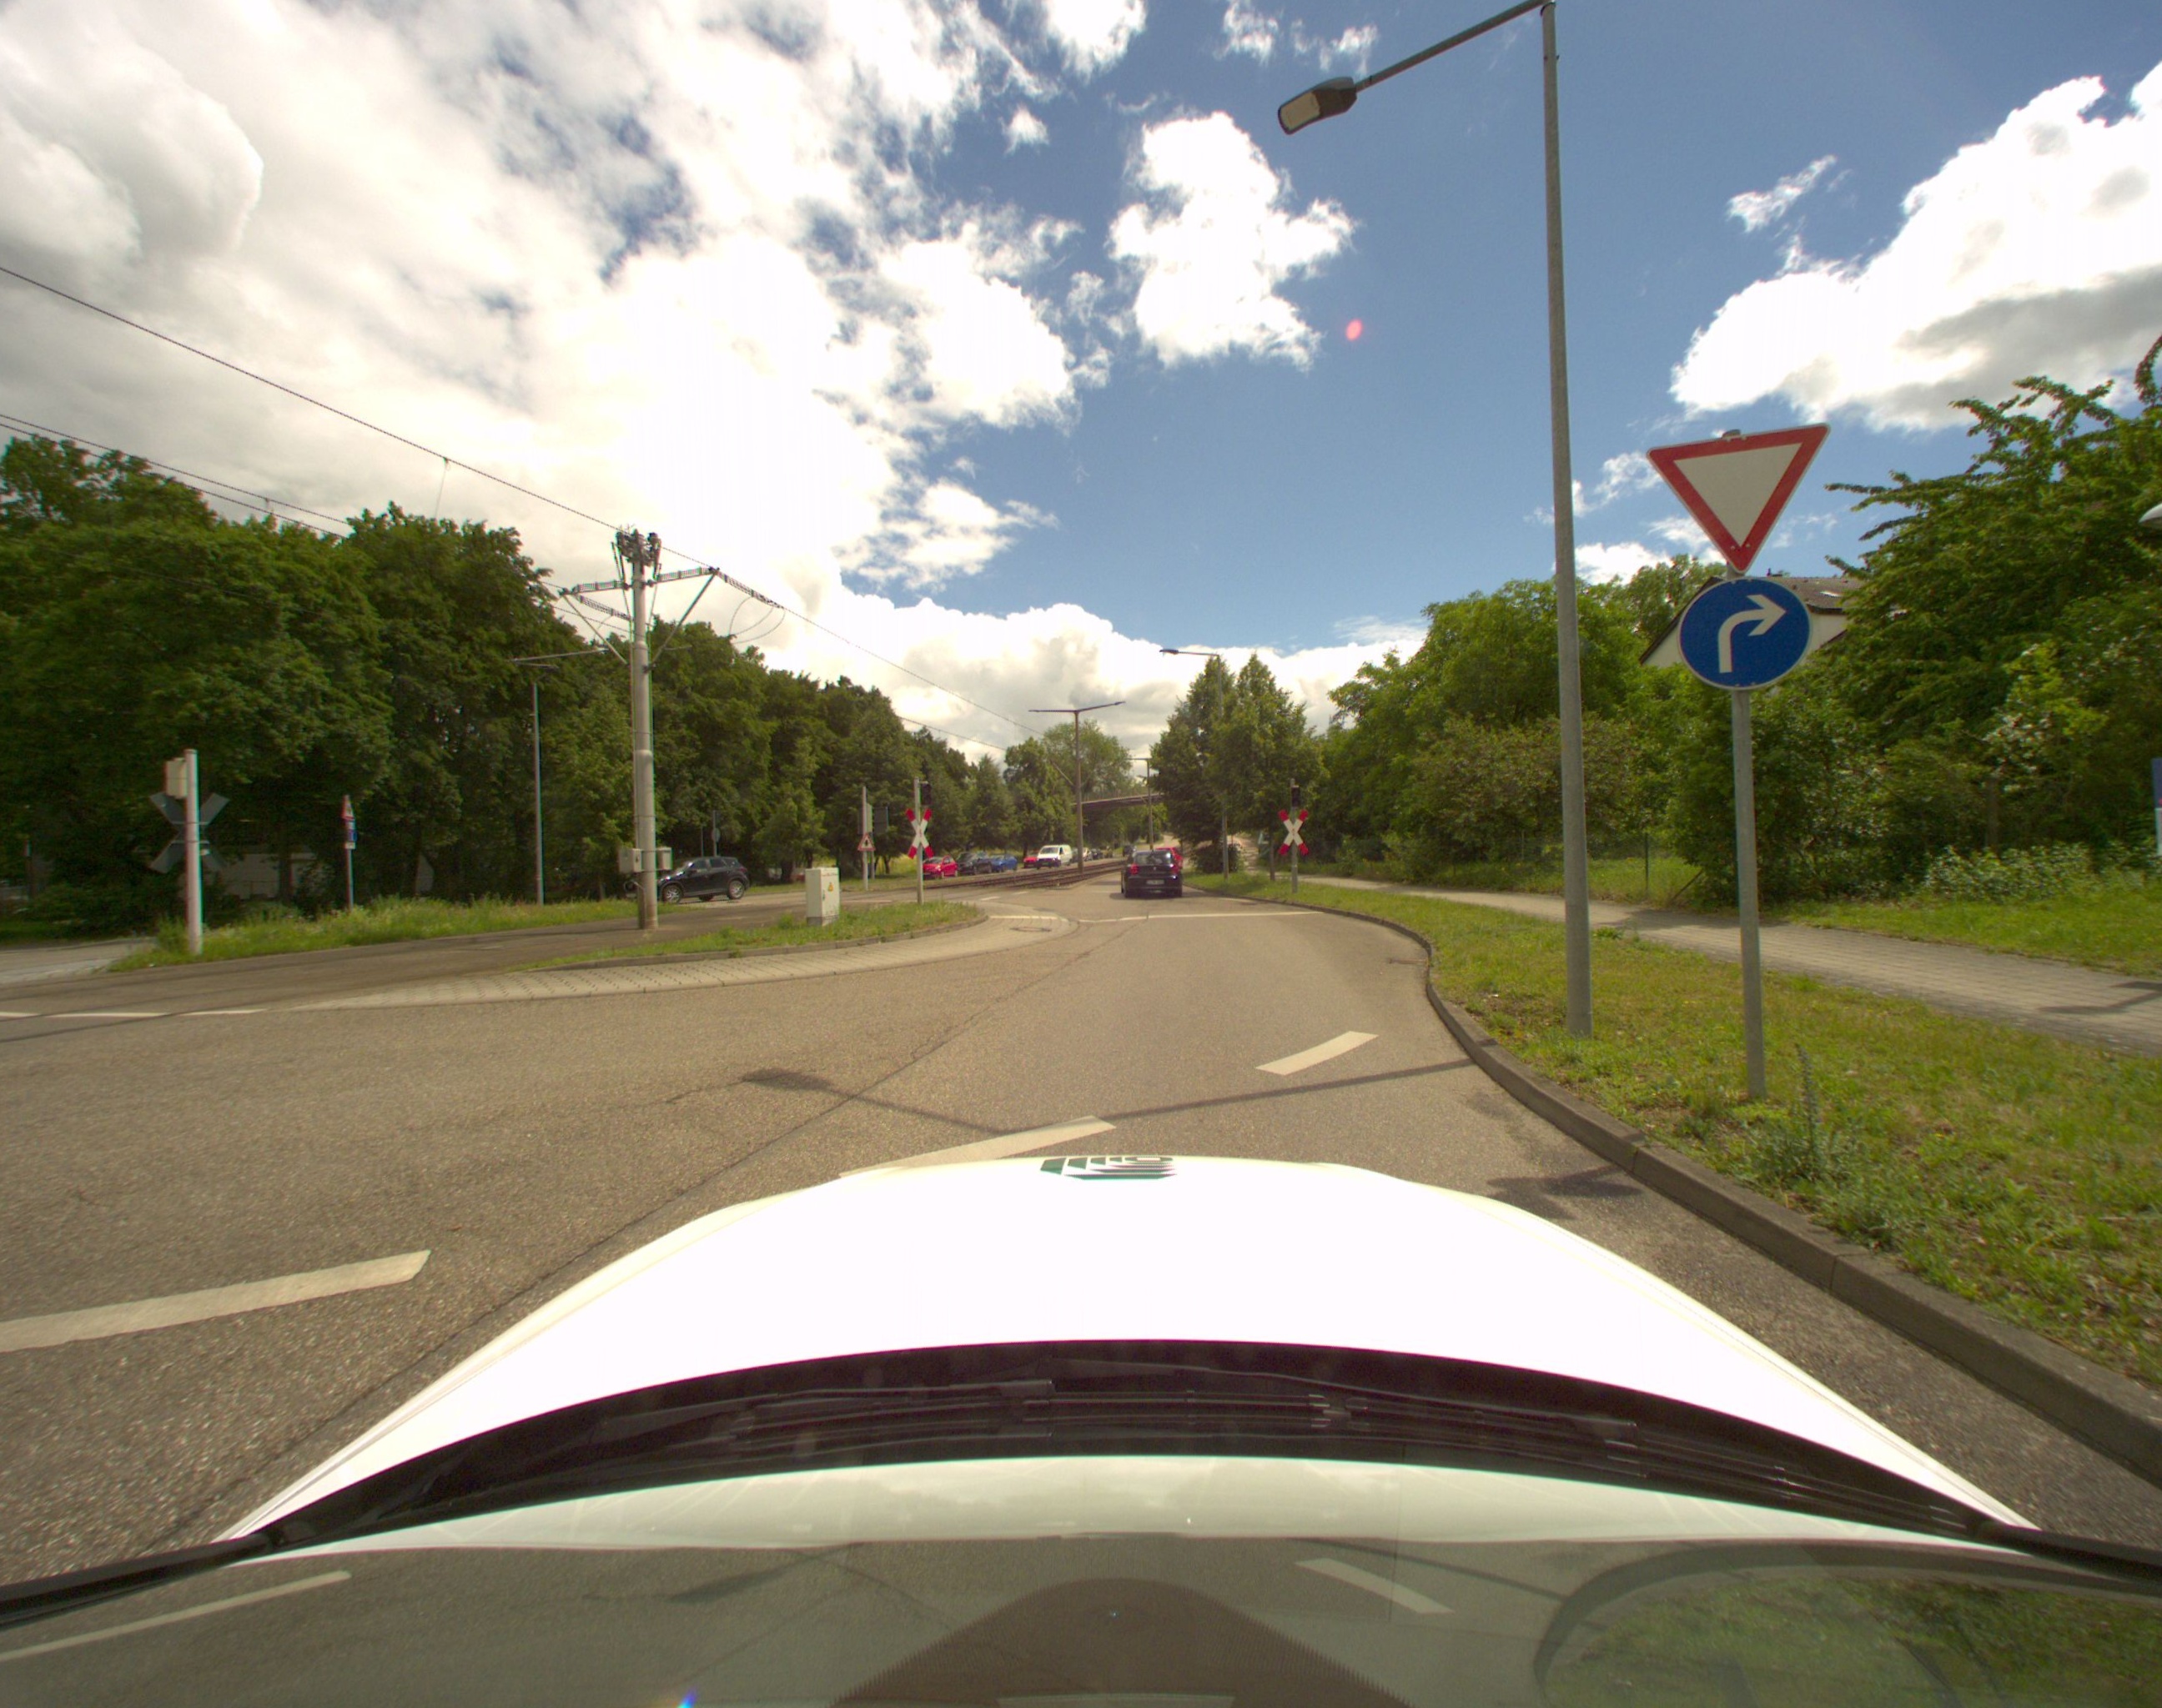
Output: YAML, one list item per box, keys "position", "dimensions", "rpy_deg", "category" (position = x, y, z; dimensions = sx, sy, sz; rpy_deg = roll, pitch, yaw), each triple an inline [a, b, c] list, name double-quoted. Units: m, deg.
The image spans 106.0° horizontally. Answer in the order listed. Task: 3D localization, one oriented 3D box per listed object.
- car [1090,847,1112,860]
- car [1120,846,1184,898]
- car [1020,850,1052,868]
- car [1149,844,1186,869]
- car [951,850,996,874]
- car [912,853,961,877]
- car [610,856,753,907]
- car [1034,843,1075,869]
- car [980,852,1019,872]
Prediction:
- position: [2.310, 0.010, 94.359]
  dimensions: [1.676, 1.450, 3.914]
  rpy_deg: [-1, -1, 15]
  category: "car"
- position: [2.138, 0.503, 25.425]
  dimensions: [1.702, 1.460, 3.960]
  rpy_deg: [0, 1, 0]
  category: "car"
- position: [-3.931, 0.443, 71.788]
  dimensions: [1.601, 1.494, 4.063]
  rpy_deg: [-1, -1, 15]
  category: "car"
- position: [5.208, 0.180, 48.837]
  dimensions: [1.612, 1.443, 3.436]
  rpy_deg: [-1, -1, 16]
  category: "car"
- position: [-7.428, 0.587, 56.766]
  dimensions: [1.568, 1.605, 4.392]
  rpy_deg: [-1, -1, 15]
  category: "car"
- position: [-9.040, 0.695, 51.245]
  dimensions: [1.601, 1.451, 3.676]
  rpy_deg: [-1, -1, 15]
  category: "car"
- position: [-14.261, 0.940, 29.342]
  dimensions: [1.836, 1.585, 4.352]
  rpy_deg: [-3, 0, 27]
  category: "car"
- position: [-2.058, 0.175, 65.916]
  dimensions: [1.861, 2.018, 5.255]
  rpy_deg: [-1, -1, 15]
  category: "car"
- position: [-6.150, 0.584, 61.829]
  dimensions: [1.601, 1.461, 4.023]
  rpy_deg: [-1, -1, 15]
  category: "car"
